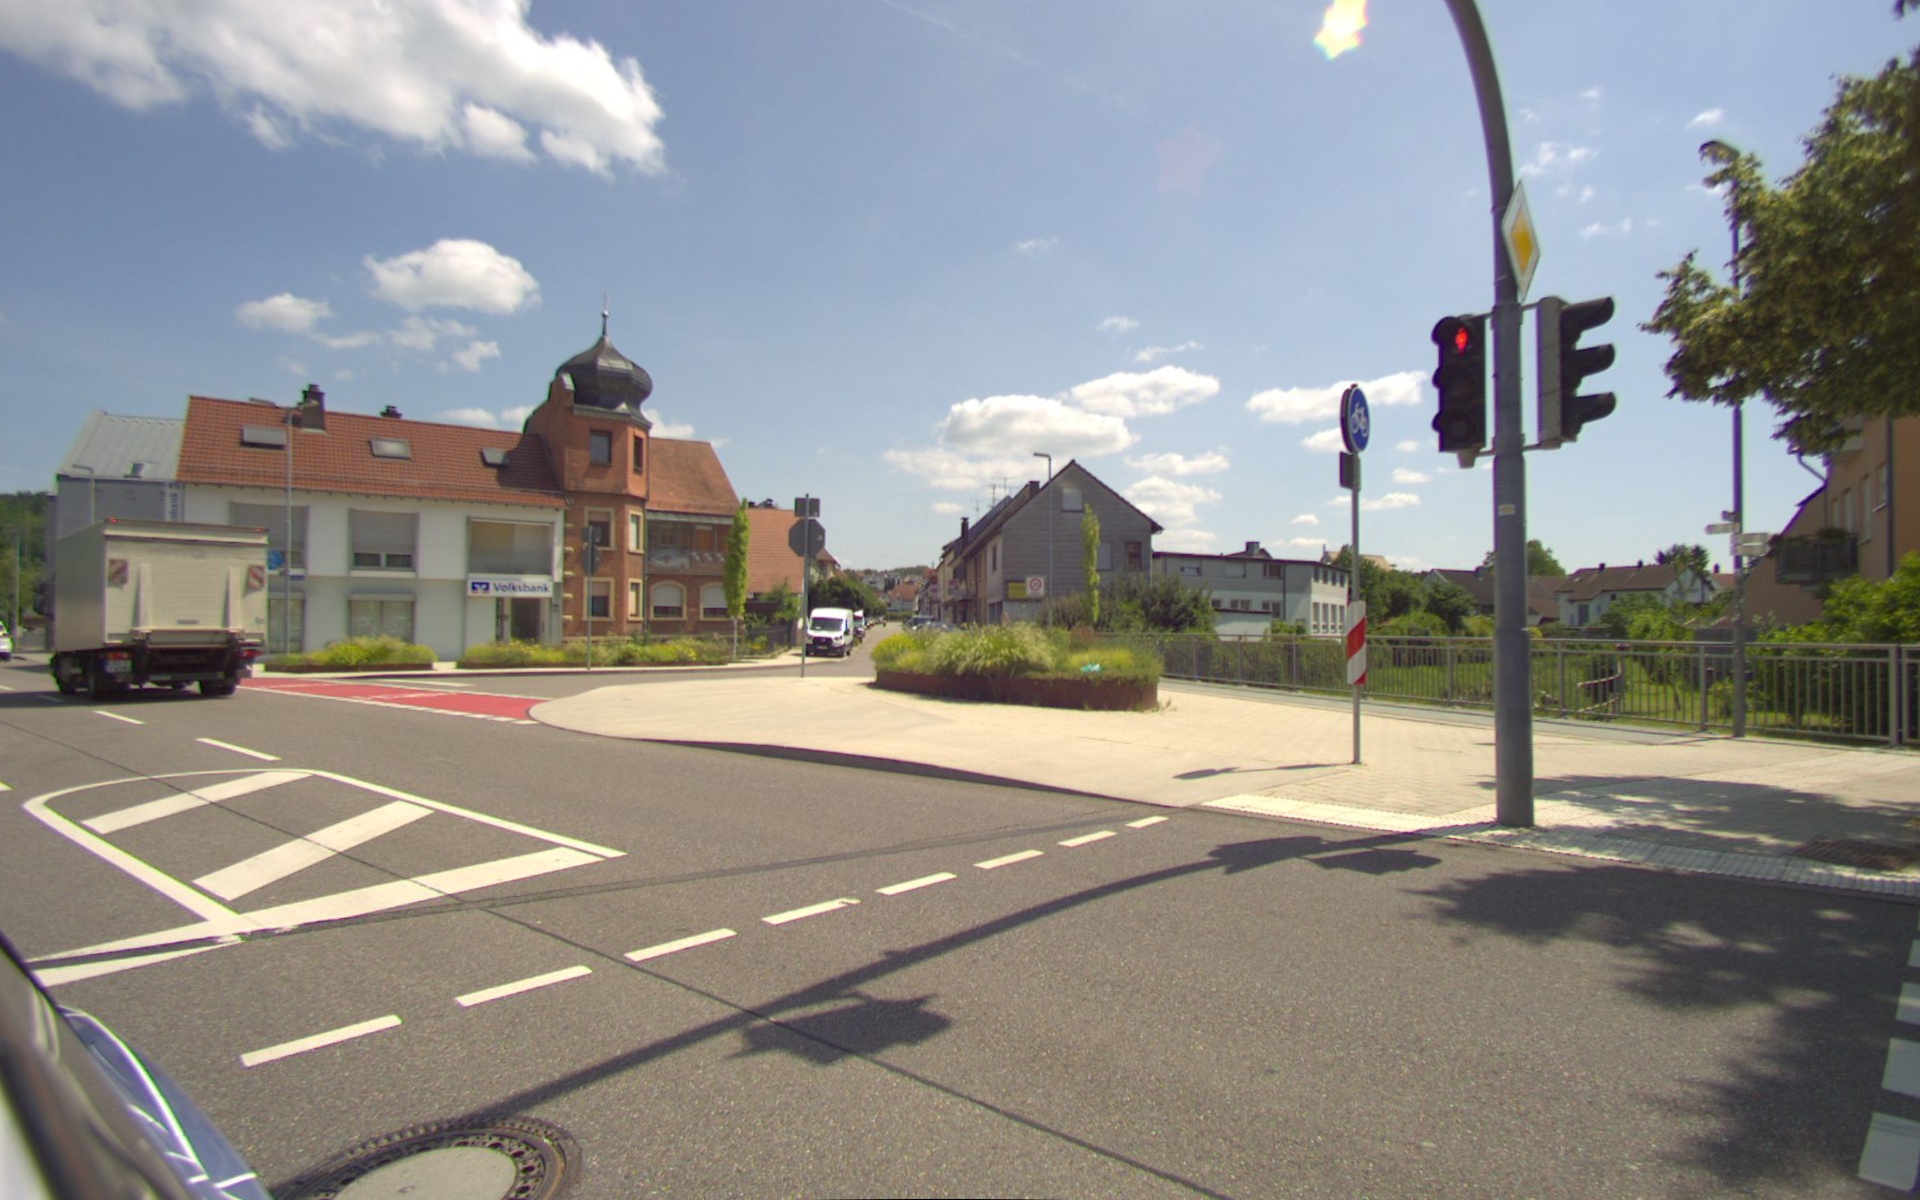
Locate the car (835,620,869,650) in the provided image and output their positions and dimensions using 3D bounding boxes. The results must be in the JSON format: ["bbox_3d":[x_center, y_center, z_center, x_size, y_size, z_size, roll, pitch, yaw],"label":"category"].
[{"bbox_3d":[-8.825,2.892,83.233,2.143,2.363,5.110,1,-2,0],"label":"car"}]

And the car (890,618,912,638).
[{"bbox_3d":[-6.380,3.018,109.230,1.968,2.029,4.007,2,-2,-8],"label":"car"}]

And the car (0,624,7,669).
[{"bbox_3d":[-38.465,1.802,39.327,4.000,1.662,1.795,-1,-1,43],"label":"car"}]

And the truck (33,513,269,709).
[{"bbox_3d":[-15.923,0.269,19.779,6.035,3.260,2.476,-2,-2,40],"label":"truck"}]

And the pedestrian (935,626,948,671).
[{"bbox_3d":[-0.737,1.926,40.260,0.500,1.762,0.614,0,-2,3],"label":"pedestrian"}]

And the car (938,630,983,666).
[{"bbox_3d":[-0.042,2.158,46.227,1.761,1.559,4.237,1,-2,-3],"label":"car"}]

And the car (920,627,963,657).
[{"bbox_3d":[-1.146,2.553,62.052,2.036,1.741,4.008,2,-2,-9],"label":"car"}]

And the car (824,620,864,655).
[{"bbox_3d":[-8.084,2.618,70.933,2.143,2.363,5.110,1,-2,0],"label":"car"}]

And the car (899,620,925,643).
[{"bbox_3d":[-3.937,2.588,83.263,1.838,1.864,4.005,1,-2,-6],"label":"car"}]

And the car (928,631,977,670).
[{"bbox_3d":[-0.329,1.983,40.160,1.834,1.475,4.000,0,-2,-1],"label":"car"}]

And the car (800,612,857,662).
[{"bbox_3d":[-6.659,1.872,51.773,2.143,2.363,5.110,1,-2,0],"label":"car"}]

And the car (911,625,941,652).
[{"bbox_3d":[-2.480,2.758,73.568,1.838,1.864,4.005,1,-2,-6],"label":"car"}]

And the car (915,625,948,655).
[{"bbox_3d":[-1.930,2.643,67.469,1.894,1.892,4.005,1,-2,-6],"label":"car"}]

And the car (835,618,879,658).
[{"bbox_3d":[-6.396,2.351,63.122,2.143,2.363,5.110,1,-2,0],"label":"car"}]
